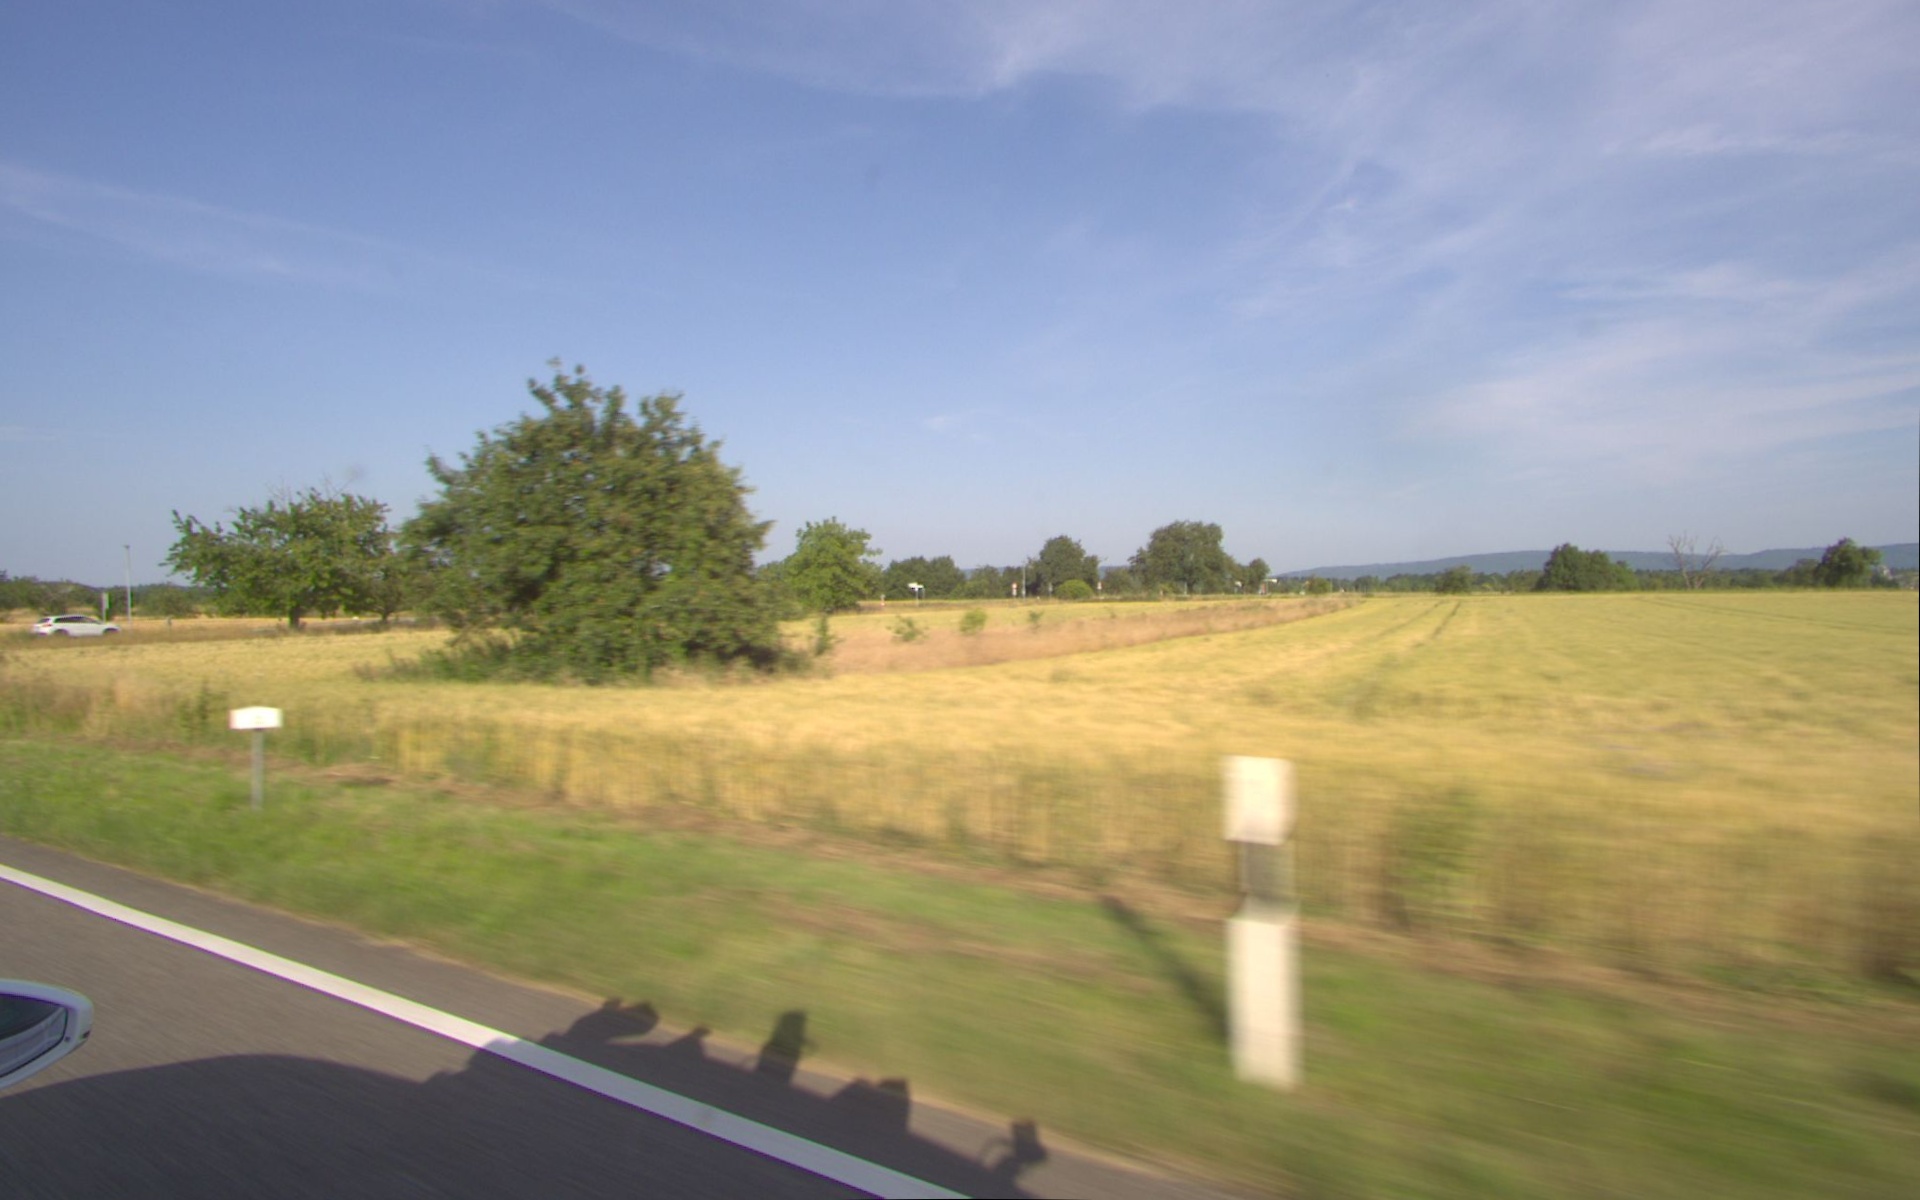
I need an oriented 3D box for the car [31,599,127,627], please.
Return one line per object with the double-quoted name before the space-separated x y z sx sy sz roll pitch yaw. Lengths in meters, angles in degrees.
"car" -53.176 0.819 60.533 1.832 1.618 3.985 0 -1 28
